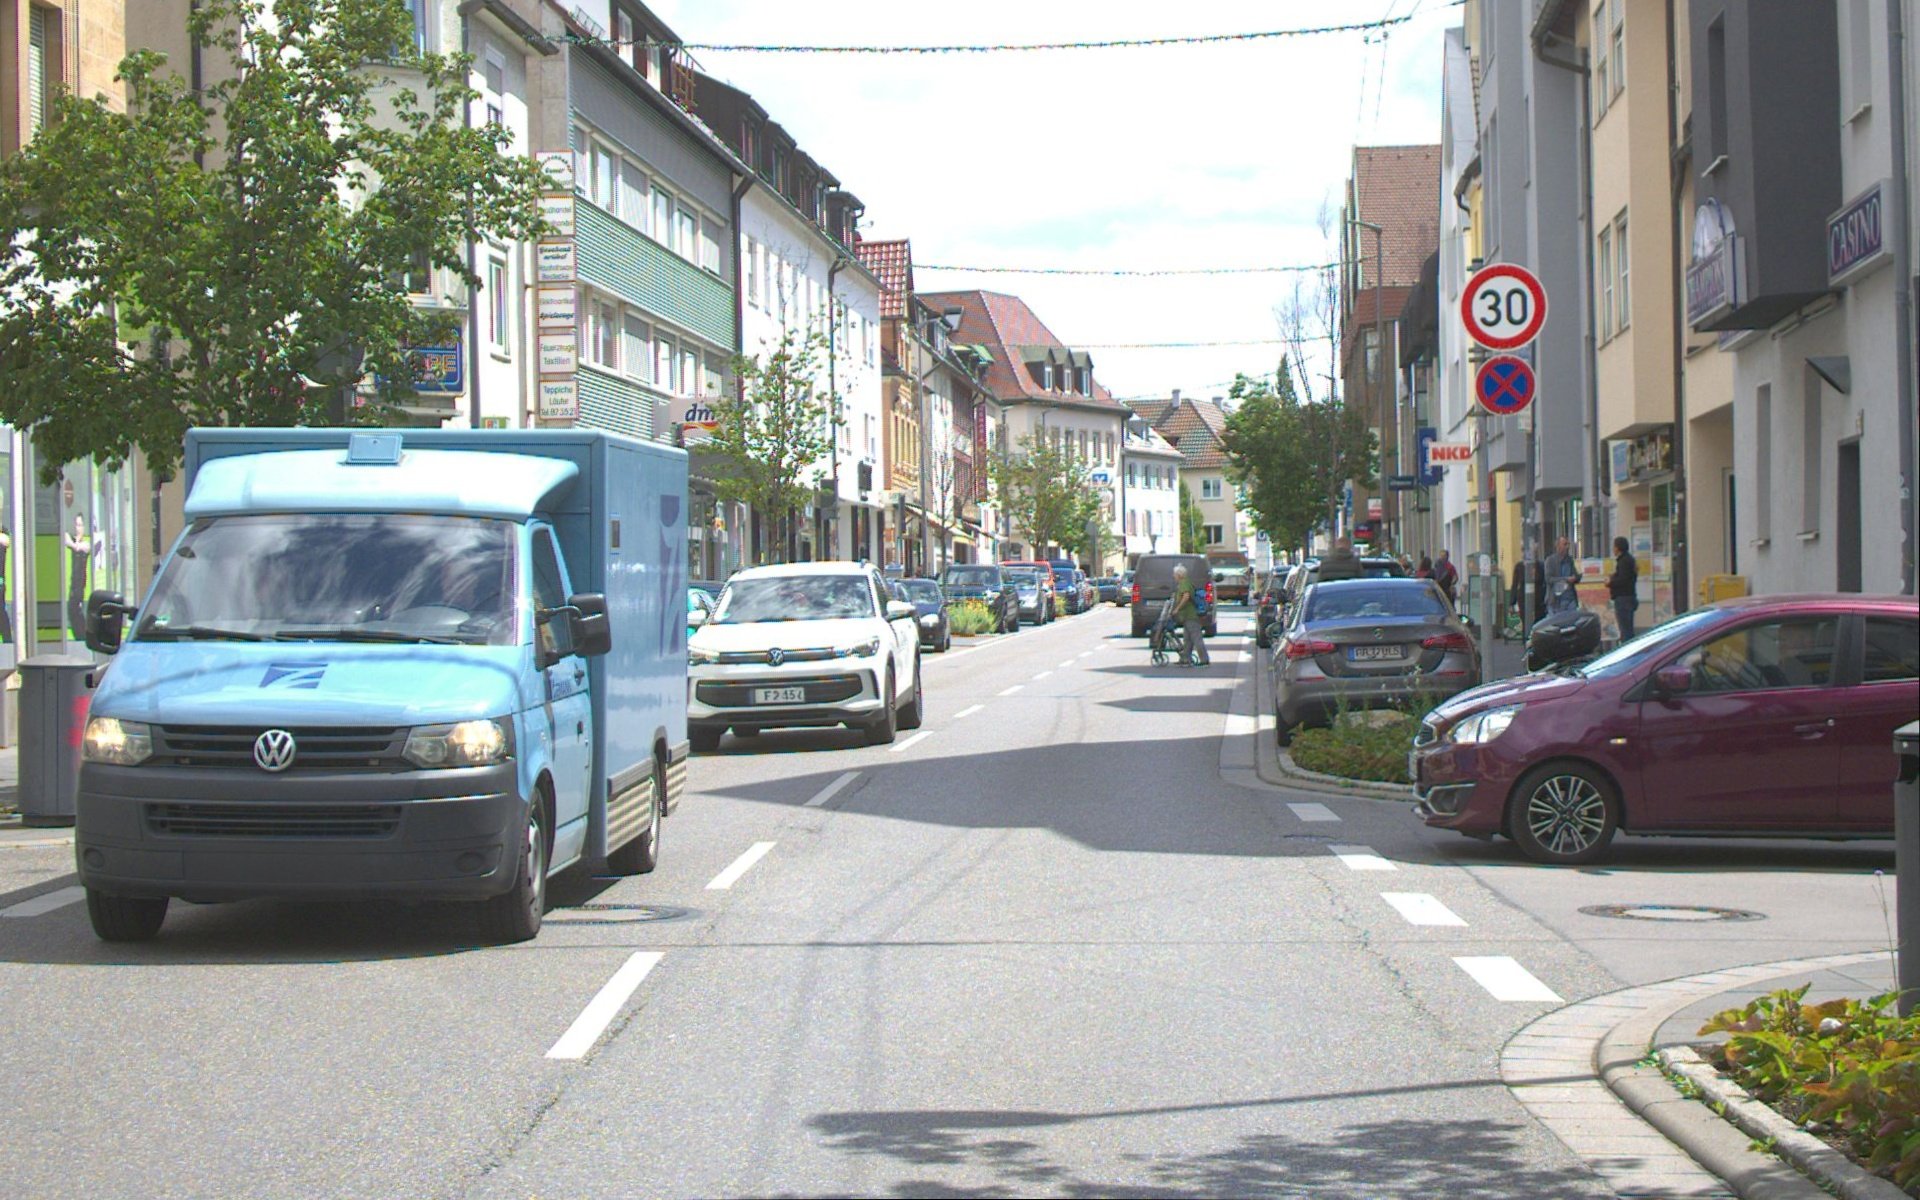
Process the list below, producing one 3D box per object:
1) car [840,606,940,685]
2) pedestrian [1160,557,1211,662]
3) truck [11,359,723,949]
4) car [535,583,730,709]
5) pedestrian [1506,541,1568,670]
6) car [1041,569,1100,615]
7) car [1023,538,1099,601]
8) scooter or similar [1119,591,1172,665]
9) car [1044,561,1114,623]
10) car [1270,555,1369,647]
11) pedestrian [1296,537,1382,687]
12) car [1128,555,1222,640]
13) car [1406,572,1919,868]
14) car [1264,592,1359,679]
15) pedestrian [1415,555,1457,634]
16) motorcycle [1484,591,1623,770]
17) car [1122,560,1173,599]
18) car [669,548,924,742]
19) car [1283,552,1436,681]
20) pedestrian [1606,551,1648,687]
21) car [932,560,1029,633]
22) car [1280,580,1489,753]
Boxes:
[{"bbox_3d":[-1.395,0.901,69.821,1.790,1.498,4.178,1,0,2],"label":"car"},{"bbox_3d":[3.495,0.145,53.321,0.731,1.612,0.651,1,0,1],"label":"pedestrian"},{"bbox_3d":[-2.566,0.228,16.804,2.106,2.297,6.475,1,0,2],"label":"truck"},{"bbox_3d":[-3.858,0.534,41.023,1.586,1.409,3.667,1,0,6],"label":"car"},{"bbox_3d":[7.766,0.078,46.263,0.743,1.712,0.656,-1,-1,4],"label":"pedestrian"},{"bbox_3d":[3.888,-0.288,120.371,1.800,1.592,4.388,0,0,6],"label":"car"},{"bbox_3d":[2.972,-0.863,100.239,1.816,1.749,4.462,1,0,7],"label":"car"},{"bbox_3d":[2.873,0.437,53.329,0.781,1.122,0.630,1,0,1],"label":"scooter or similar"},{"bbox_3d":[3.766,-0.235,108.052,1.816,1.882,4.839,1,0,6],"label":"car"},{"bbox_3d":[6.405,0.032,61.513,1.689,1.569,3.755,1,0,5],"label":"car"},{"bbox_3d":[4.817,0.154,43.740,0.975,1.857,0.864,-2,-1,4],"label":"pedestrian"},{"bbox_3d":[4.867,-0.047,77.954,2.041,1.842,4.998,1,0,4],"label":"car"},{"bbox_3d":[4.396,0.645,18.920,3.747,1.525,1.537,1,0,4],"label":"car"},{"bbox_3d":[6.733,0.653,66.186,1.689,1.467,4.523,1,2,5],"label":"car"},{"bbox_3d":[9.516,-0.104,68.739,0.750,1.548,0.726,-1,-1,5],"label":"pedestrian"},{"bbox_3d":[4.380,0.575,25.503,0.659,1.255,2.376,1,0,1],"label":"motorcycle"},{"bbox_3d":[7.901,-0.842,144.293,1.906,1.558,4.644,1,0,6],"label":"car"},{"bbox_3d":[-1.424,0.393,31.509,1.788,1.634,4.115,1,0,5],"label":"car"},{"bbox_3d":[5.354,0.193,46.519,1.799,1.598,4.203,-2,0,4],"label":"car"},{"bbox_3d":[8.473,0.241,43.675,0.435,1.712,0.537,1,0,3],"label":"pedestrian"},{"bbox_3d":[0.559,-0.069,86.740,1.817,1.749,4.667,1,0,8],"label":"car"},{"bbox_3d":[3.819,0.564,30.770,1.707,1.415,4.317,1,0,8],"label":"car"}]
